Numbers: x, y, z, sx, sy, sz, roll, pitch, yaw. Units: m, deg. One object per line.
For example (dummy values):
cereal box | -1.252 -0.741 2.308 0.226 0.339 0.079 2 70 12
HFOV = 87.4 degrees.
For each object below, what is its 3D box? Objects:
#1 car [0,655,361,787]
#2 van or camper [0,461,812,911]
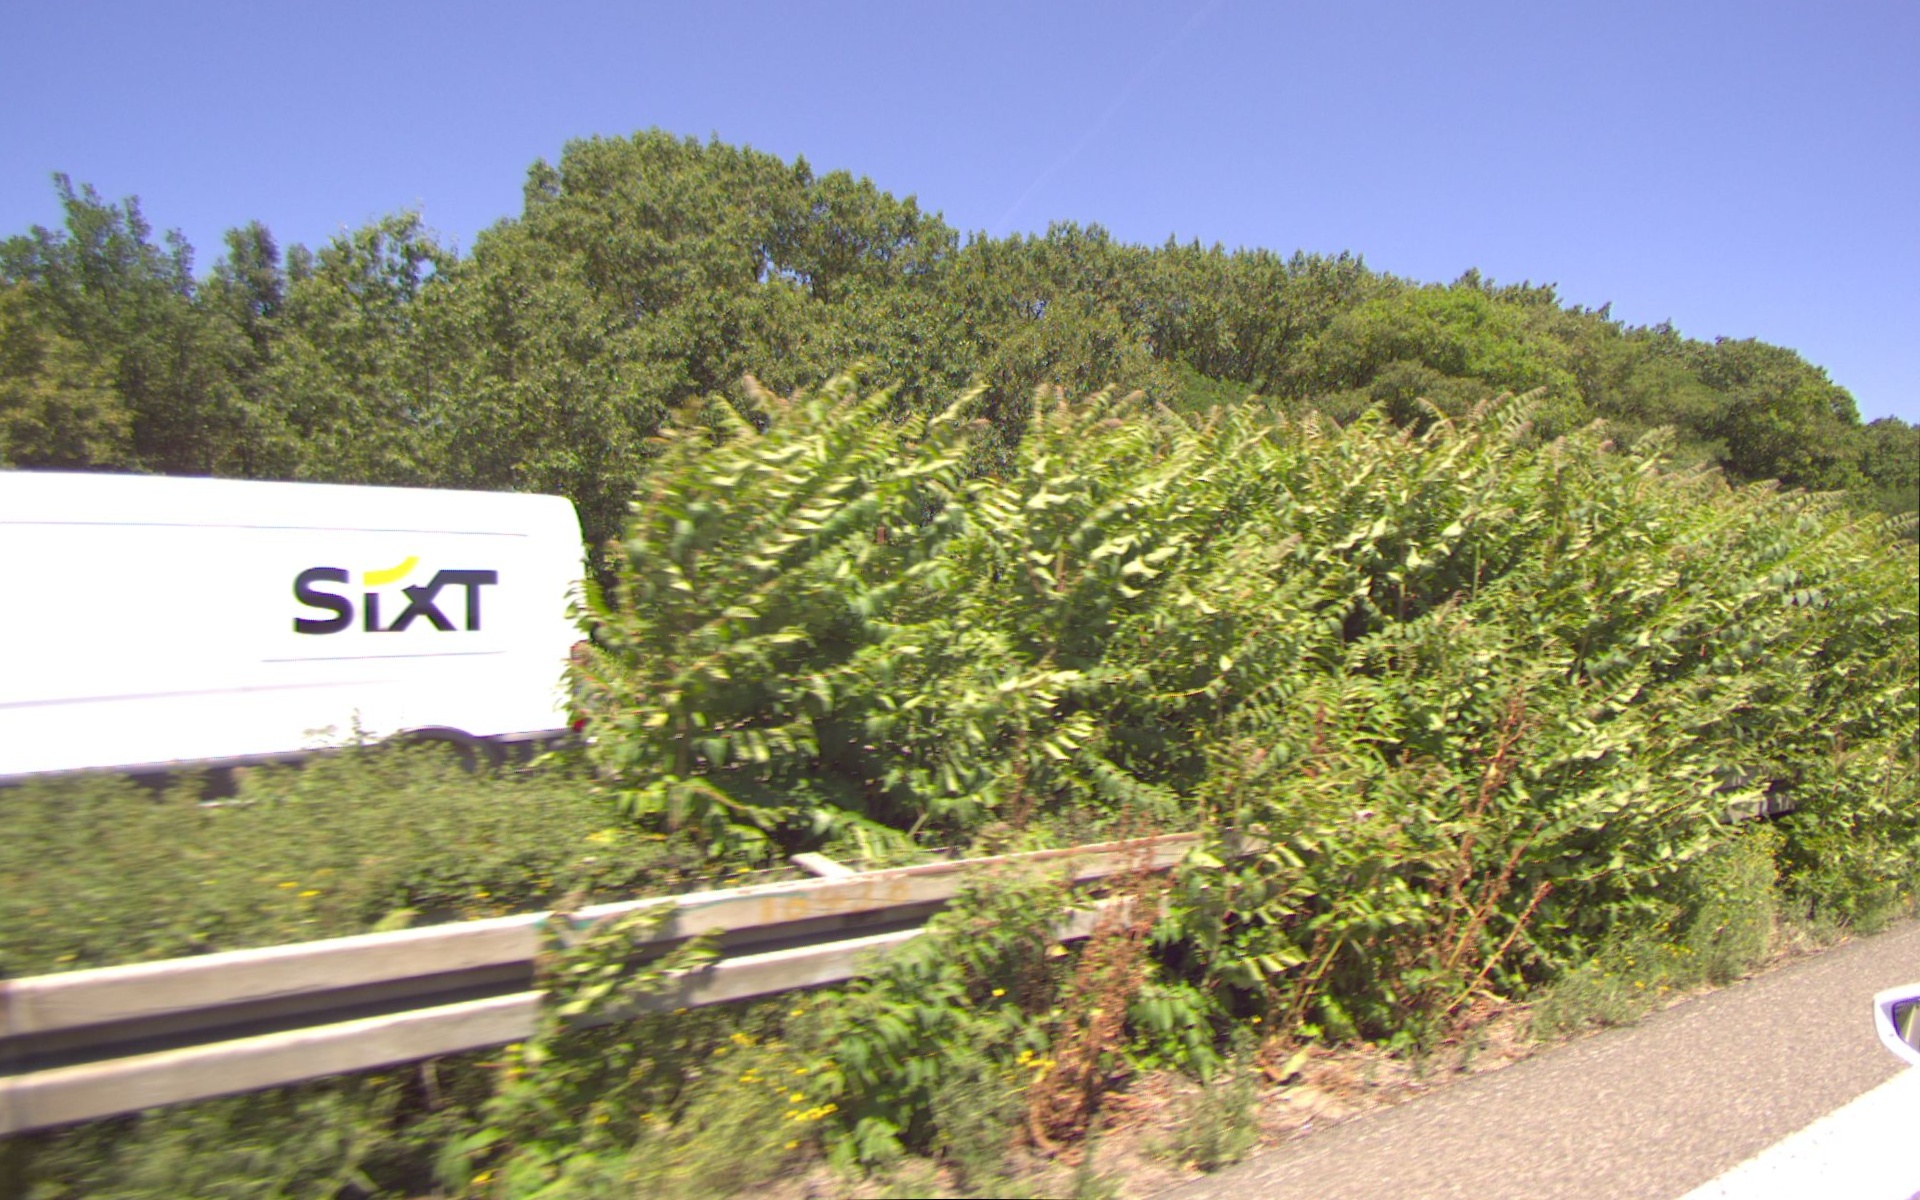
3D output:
car | -9.797 1.412 12.503 3.954 1.356 1.785 1 -1 -31
van or camper | -4.619 0.496 6.824 6.919 2.402 1.984 1 -1 -31
